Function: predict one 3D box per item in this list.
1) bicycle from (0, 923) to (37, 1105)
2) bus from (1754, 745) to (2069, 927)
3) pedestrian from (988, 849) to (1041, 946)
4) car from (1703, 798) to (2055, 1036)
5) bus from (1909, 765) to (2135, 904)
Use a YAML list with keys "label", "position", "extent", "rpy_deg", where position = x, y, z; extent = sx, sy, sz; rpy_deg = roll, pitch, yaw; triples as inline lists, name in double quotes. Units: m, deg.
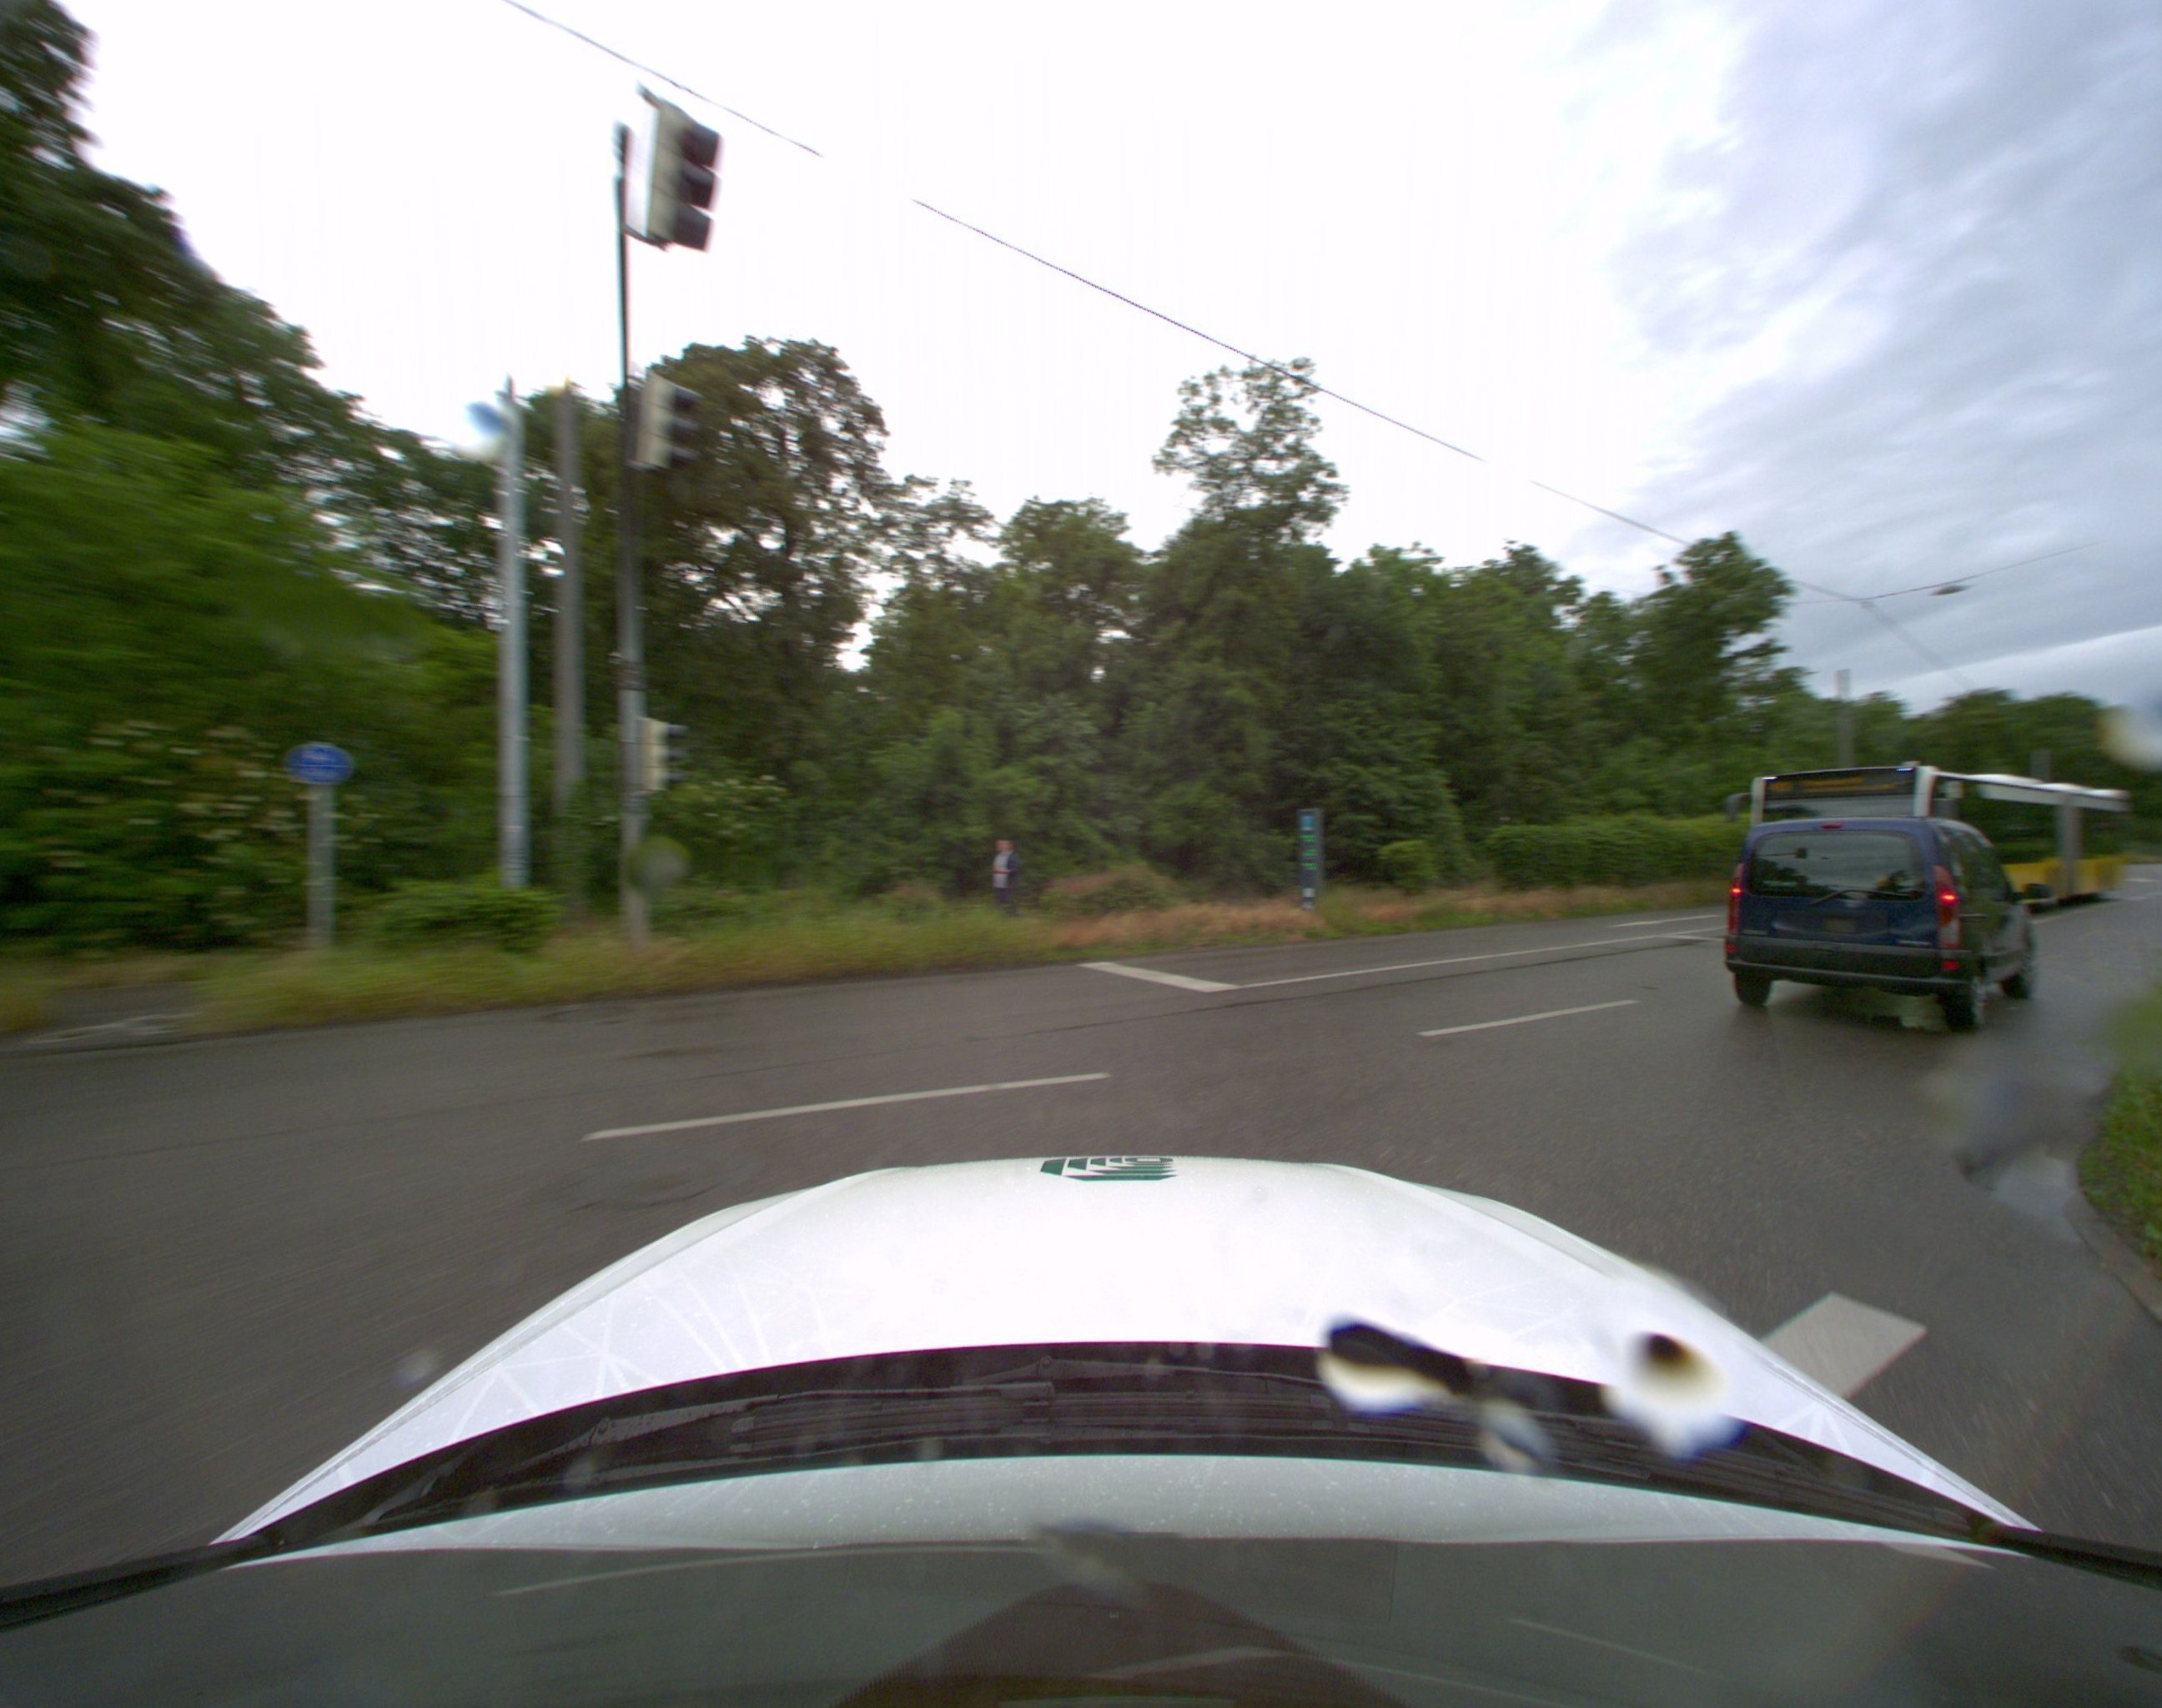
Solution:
- label: "bicycle"
  position: [-6.597, 0.995, 4.159]
  extent: [0.581, 1.096, 2.137]
  rpy_deg: [1, 0, -23]
- label: "bus"
  position: [17.734, -0.338, 17.143]
  extent: [9.260, 3.044, 2.626]
  rpy_deg: [0, 0, -31]
- label: "pedestrian"
  position: [-1.279, 0.807, 15.568]
  extent: [0.765, 1.800, 0.771]
  rpy_deg: [0, -1, -28]
- label: "car"
  position: [7.999, 0.481, 8.067]
  extent: [4.017, 1.797, 1.795]
  rpy_deg: [0, -1, -36]
- label: "bus"
  position: [25.408, -0.473, 21.846]
  extent: [8.664, 3.158, 2.578]
  rpy_deg: [0, 0, -31]
